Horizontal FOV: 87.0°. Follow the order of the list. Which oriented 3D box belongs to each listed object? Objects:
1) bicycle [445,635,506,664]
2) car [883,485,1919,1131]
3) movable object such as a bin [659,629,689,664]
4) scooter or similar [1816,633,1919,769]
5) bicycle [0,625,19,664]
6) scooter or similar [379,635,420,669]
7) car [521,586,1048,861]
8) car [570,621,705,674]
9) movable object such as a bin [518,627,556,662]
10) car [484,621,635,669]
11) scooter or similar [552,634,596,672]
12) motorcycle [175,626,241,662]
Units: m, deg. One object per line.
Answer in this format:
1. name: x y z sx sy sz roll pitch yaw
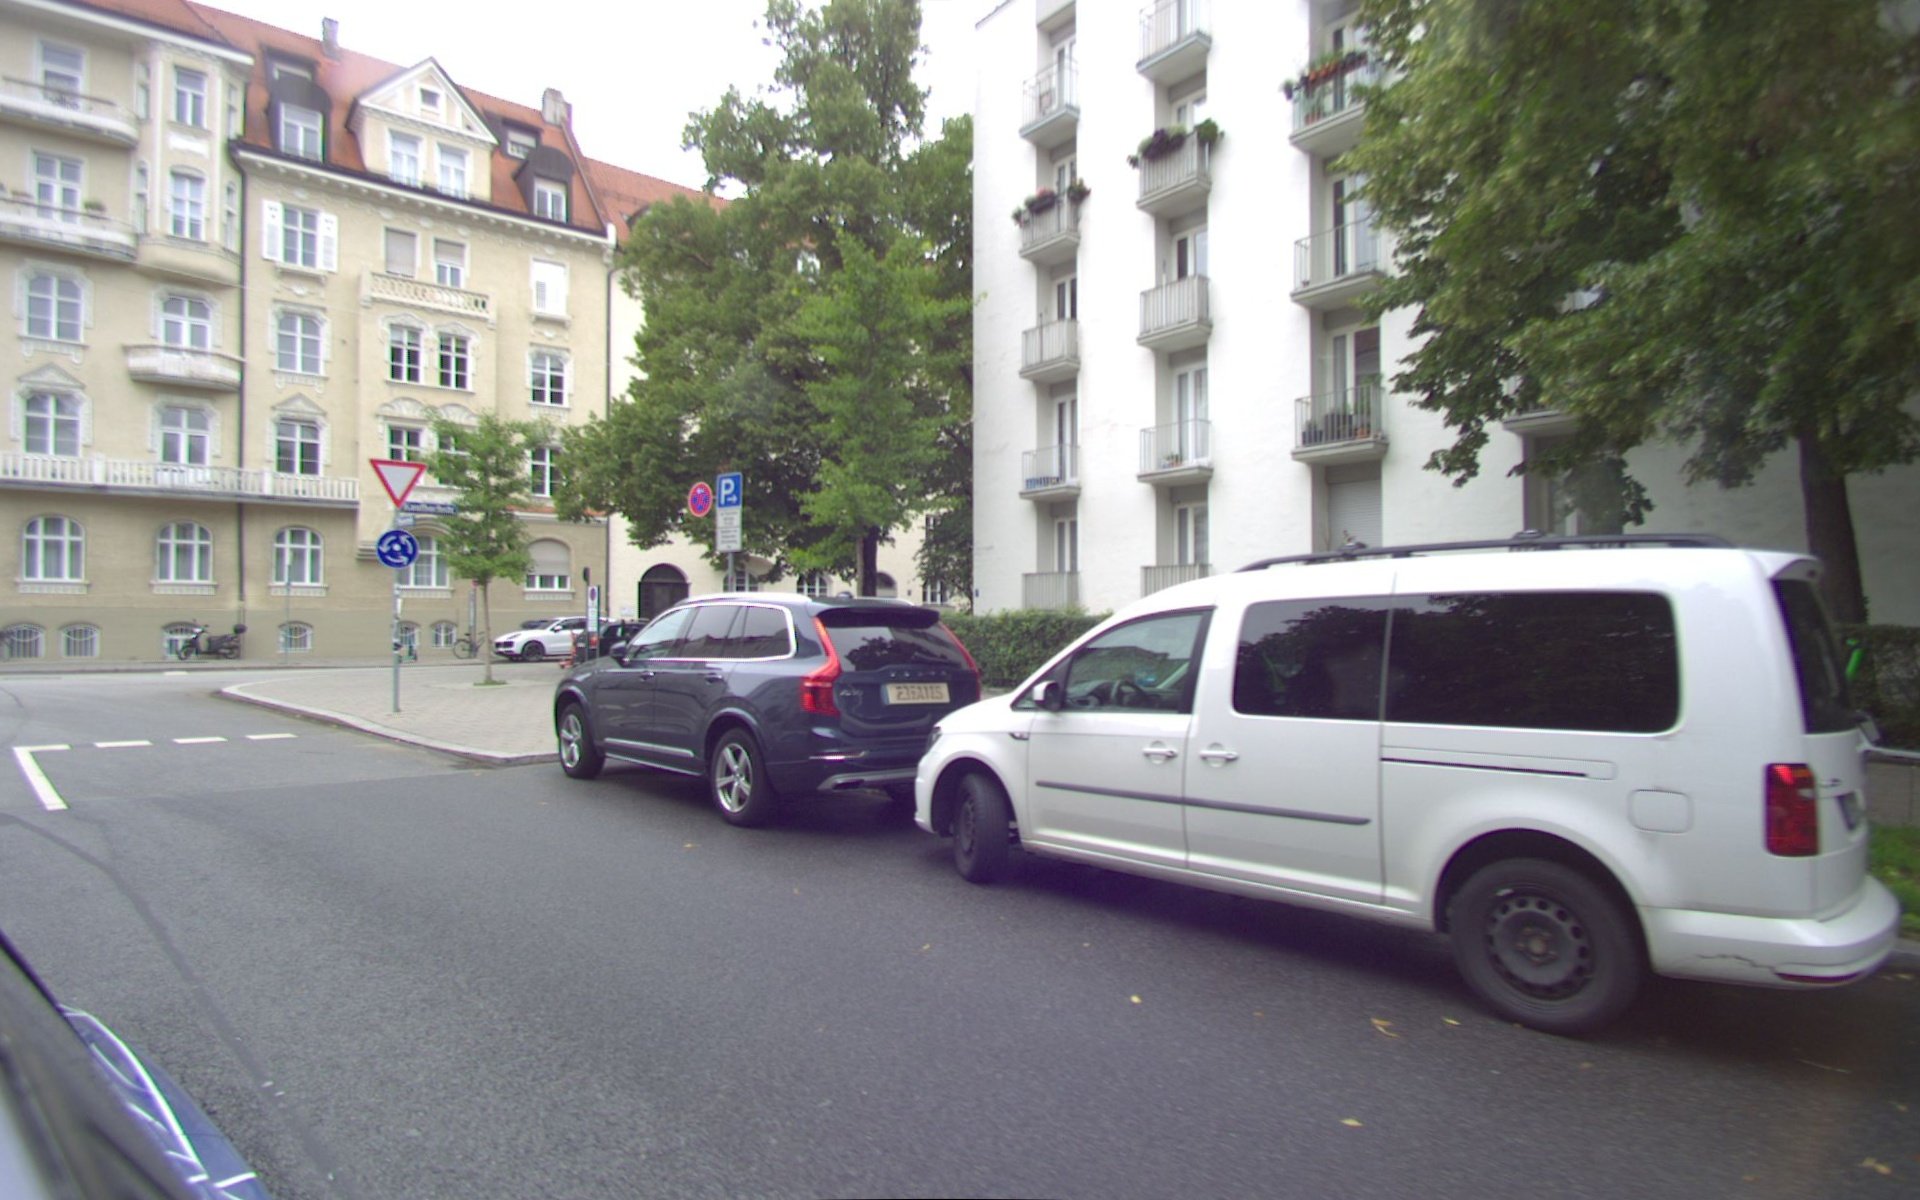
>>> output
1. bicycle: -18.145 1.837 37.920 0.653 1.077 1.948 -2 -2 42
2. car: 1.949 0.673 5.396 2.060 1.918 4.861 2 -2 -45
3. movable object such as a bin: -11.587 1.877 40.981 0.903 1.411 0.954 1 -2 -37
4. scooter or similar: 8.849 0.907 9.149 1.658 1.200 0.693 -1 -2 43
5. bicycle: -30.204 1.359 30.778 2.305 1.212 0.699 1 -2 -44
6. scooter or similar: -19.321 1.780 34.911 0.536 1.117 1.344 0 -2 6
7. car: -1.877 0.841 9.040 2.059 1.732 5.309 2 -2 -43
8. car: -9.937 1.467 31.318 3.619 1.540 1.678 1 -4 -41
9. movable object such as a bin: -17.239 1.797 41.196 1.161 1.381 1.150 1 -2 -38
10. car: -14.976 1.633 38.004 4.912 1.688 2.003 1 -2 -41
11. scooter or similar: -10.617 1.448 27.837 1.310 1.032 0.522 -1 -2 39
12. motorcycle: -25.579 1.488 34.443 1.719 1.195 0.743 1 -2 -43
